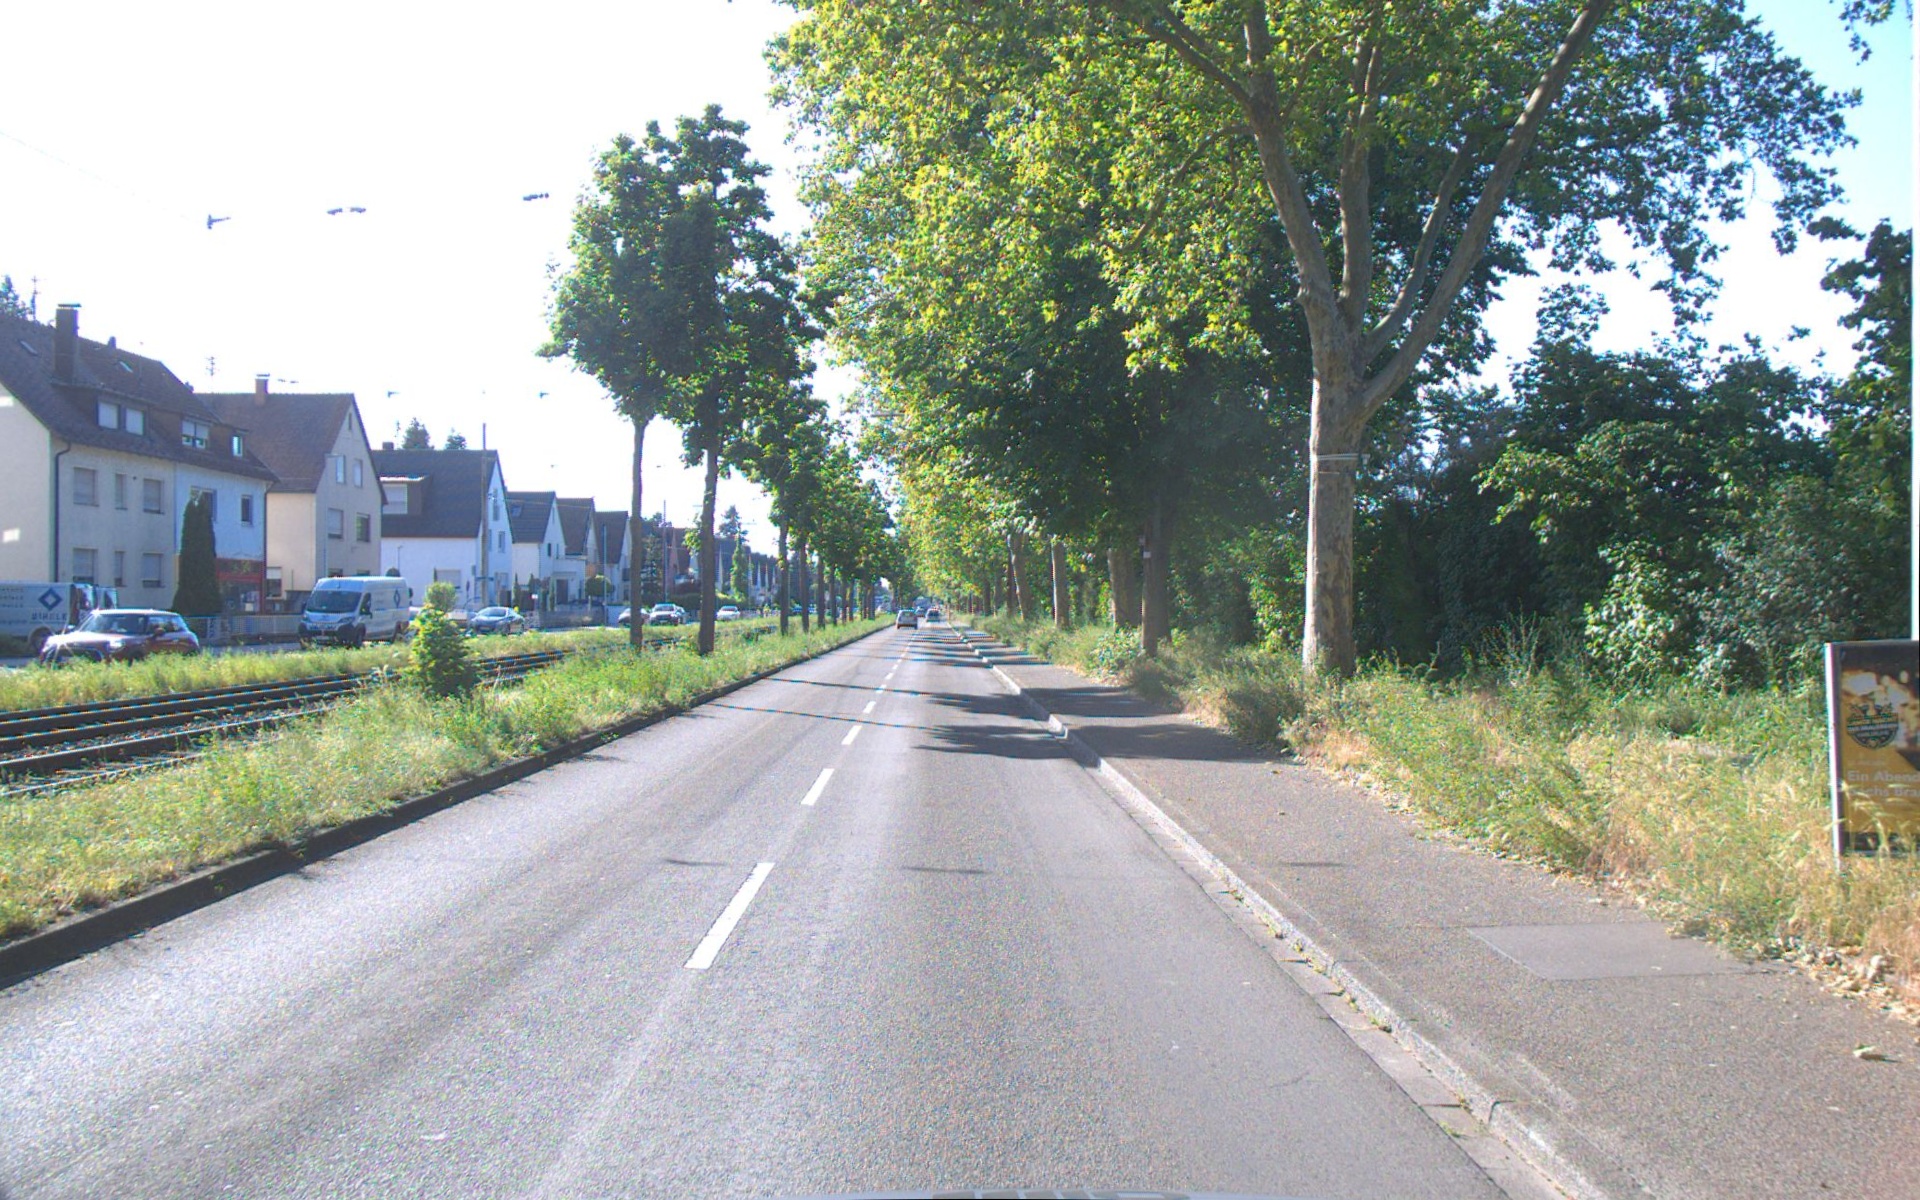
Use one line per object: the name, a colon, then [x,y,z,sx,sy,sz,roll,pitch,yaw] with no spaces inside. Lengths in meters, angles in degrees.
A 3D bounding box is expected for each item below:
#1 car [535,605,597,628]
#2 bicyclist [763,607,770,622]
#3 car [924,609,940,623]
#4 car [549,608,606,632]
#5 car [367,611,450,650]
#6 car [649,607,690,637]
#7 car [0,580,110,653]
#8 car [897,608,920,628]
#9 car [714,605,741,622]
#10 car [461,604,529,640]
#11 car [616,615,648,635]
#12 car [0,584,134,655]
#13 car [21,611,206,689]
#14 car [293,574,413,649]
car: [-28.687,1.196,120.471,4.131,1.489,1.936,2,-1,-5]
bicyclist: [-21.680,1.608,185.405,0.674,1.681,0.881,2,-1,-1]
car: [-3.220,1.905,192.405,1.725,1.539,3.276,2,-1,0]
car: [-28.922,1.510,125.159,3.909,1.699,1.998,2,-1,-5]
car: [-21.882,1.222,65.755,1.787,1.437,4.656,2,-1,-2]
car: [-19.415,1.498,110.571,1.876,1.916,4.523,2,-1,0]
car: [-26.639,0.436,46.409,4.536,1.980,1.994,1,-1,-12]
car: [-3.976,1.406,127.869,1.703,1.425,3.275,2,-1,-1]
car: [-24.299,1.401,173.116,1.952,1.627,4.732,2,-1,2]
car: [-22.283,1.017,79.378,1.953,1.609,4.497,2,0,0]
car: [-23.247,1.813,117.332,1.463,1.349,4.000,2,-1,0]
car: [-26.955,0.572,48.894,4.064,1.986,1.994,1,-1,-12]
car: [-16.633,0.944,32.714,1.642,1.434,3.999,0,0,-1]
car: [-21.834,0.437,59.867,1.953,2.502,6.672,2,-1,-1]
